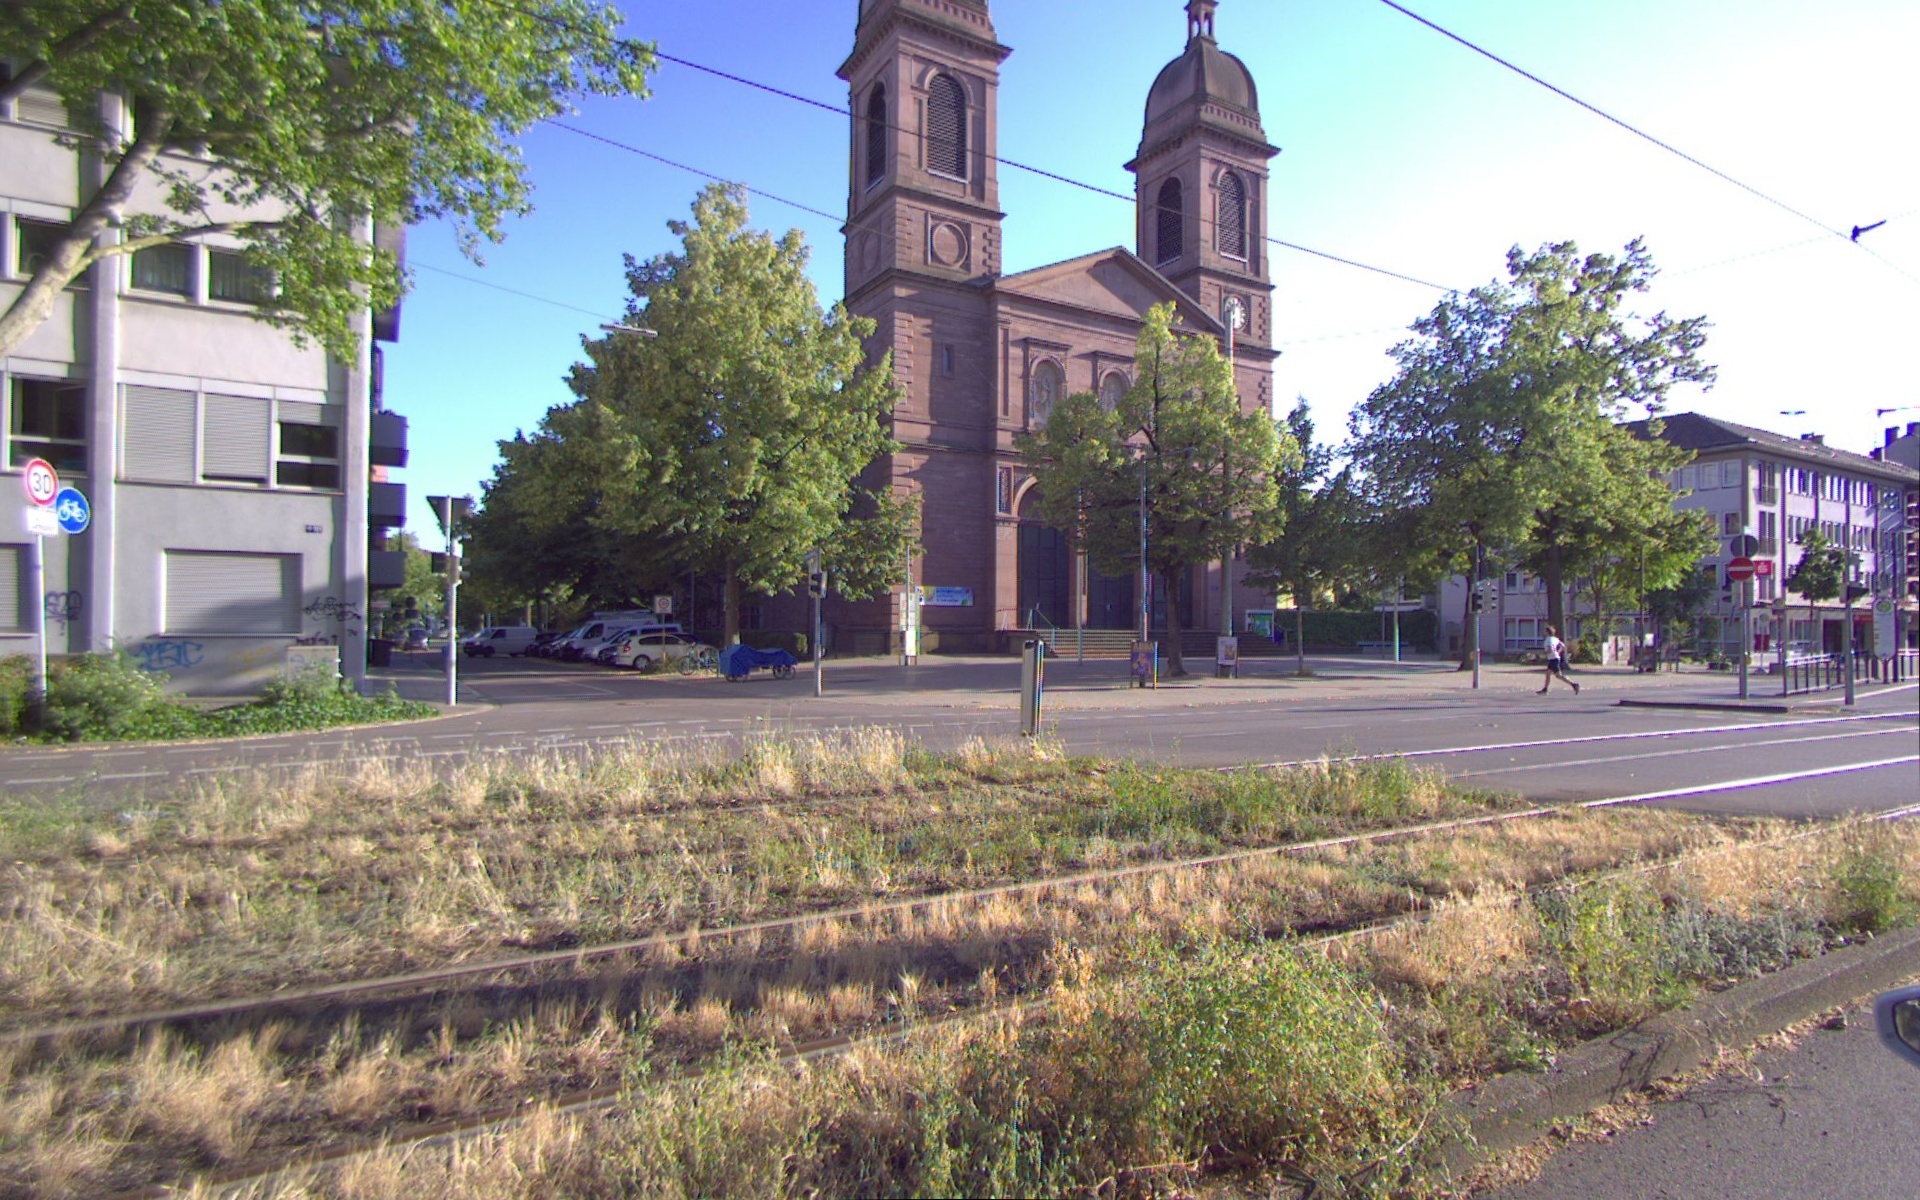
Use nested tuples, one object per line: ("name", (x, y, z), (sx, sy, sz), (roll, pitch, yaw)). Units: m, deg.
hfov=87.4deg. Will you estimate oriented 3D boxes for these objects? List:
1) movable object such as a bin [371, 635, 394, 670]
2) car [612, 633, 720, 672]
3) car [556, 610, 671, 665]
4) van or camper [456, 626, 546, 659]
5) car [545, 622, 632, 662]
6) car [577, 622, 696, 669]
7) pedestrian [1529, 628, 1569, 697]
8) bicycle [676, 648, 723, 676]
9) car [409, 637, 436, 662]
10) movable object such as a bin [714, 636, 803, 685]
("movable object such as a bin", (-22.308, 2.022, 38.810), (0.737, 1.323, 0.865), (1, -2, -32))
("car", (-12.232, 2.171, 41.826), (3.953, 1.479, 1.984), (2, 0, -30))
("car", (-18.300, 1.953, 53.113), (5.382, 2.710, 1.980), (2, 0, -36))
("van or camper", (-29.964, 2.769, 65.700), (1.965, 2.040, 5.125), (0, -2, 31))
("car", (-20.429, 2.295, 55.271), (4.174, 2.040, 1.981), (2, 0, -34))
("car", (-15.527, 2.169, 48.320), (5.121, 2.040, 1.981), (2, 0, -34))
("pedestrian", (15.587, 1.628, 26.567), (0.679, 1.794, 0.676), (1, -2, -32))
("bicycle", (-9.067, 2.157, 34.966), (1.517, 0.904, 0.465), (2, 0, -27))
("car", (-45.775, 4.187, 85.475), (1.976, 2.040, 3.970), (1, -2, -29))
("movable object such as a bin", (-6.158, 1.826, 30.716), (2.416, 1.228, 1.102), (-3, 2, -30))
